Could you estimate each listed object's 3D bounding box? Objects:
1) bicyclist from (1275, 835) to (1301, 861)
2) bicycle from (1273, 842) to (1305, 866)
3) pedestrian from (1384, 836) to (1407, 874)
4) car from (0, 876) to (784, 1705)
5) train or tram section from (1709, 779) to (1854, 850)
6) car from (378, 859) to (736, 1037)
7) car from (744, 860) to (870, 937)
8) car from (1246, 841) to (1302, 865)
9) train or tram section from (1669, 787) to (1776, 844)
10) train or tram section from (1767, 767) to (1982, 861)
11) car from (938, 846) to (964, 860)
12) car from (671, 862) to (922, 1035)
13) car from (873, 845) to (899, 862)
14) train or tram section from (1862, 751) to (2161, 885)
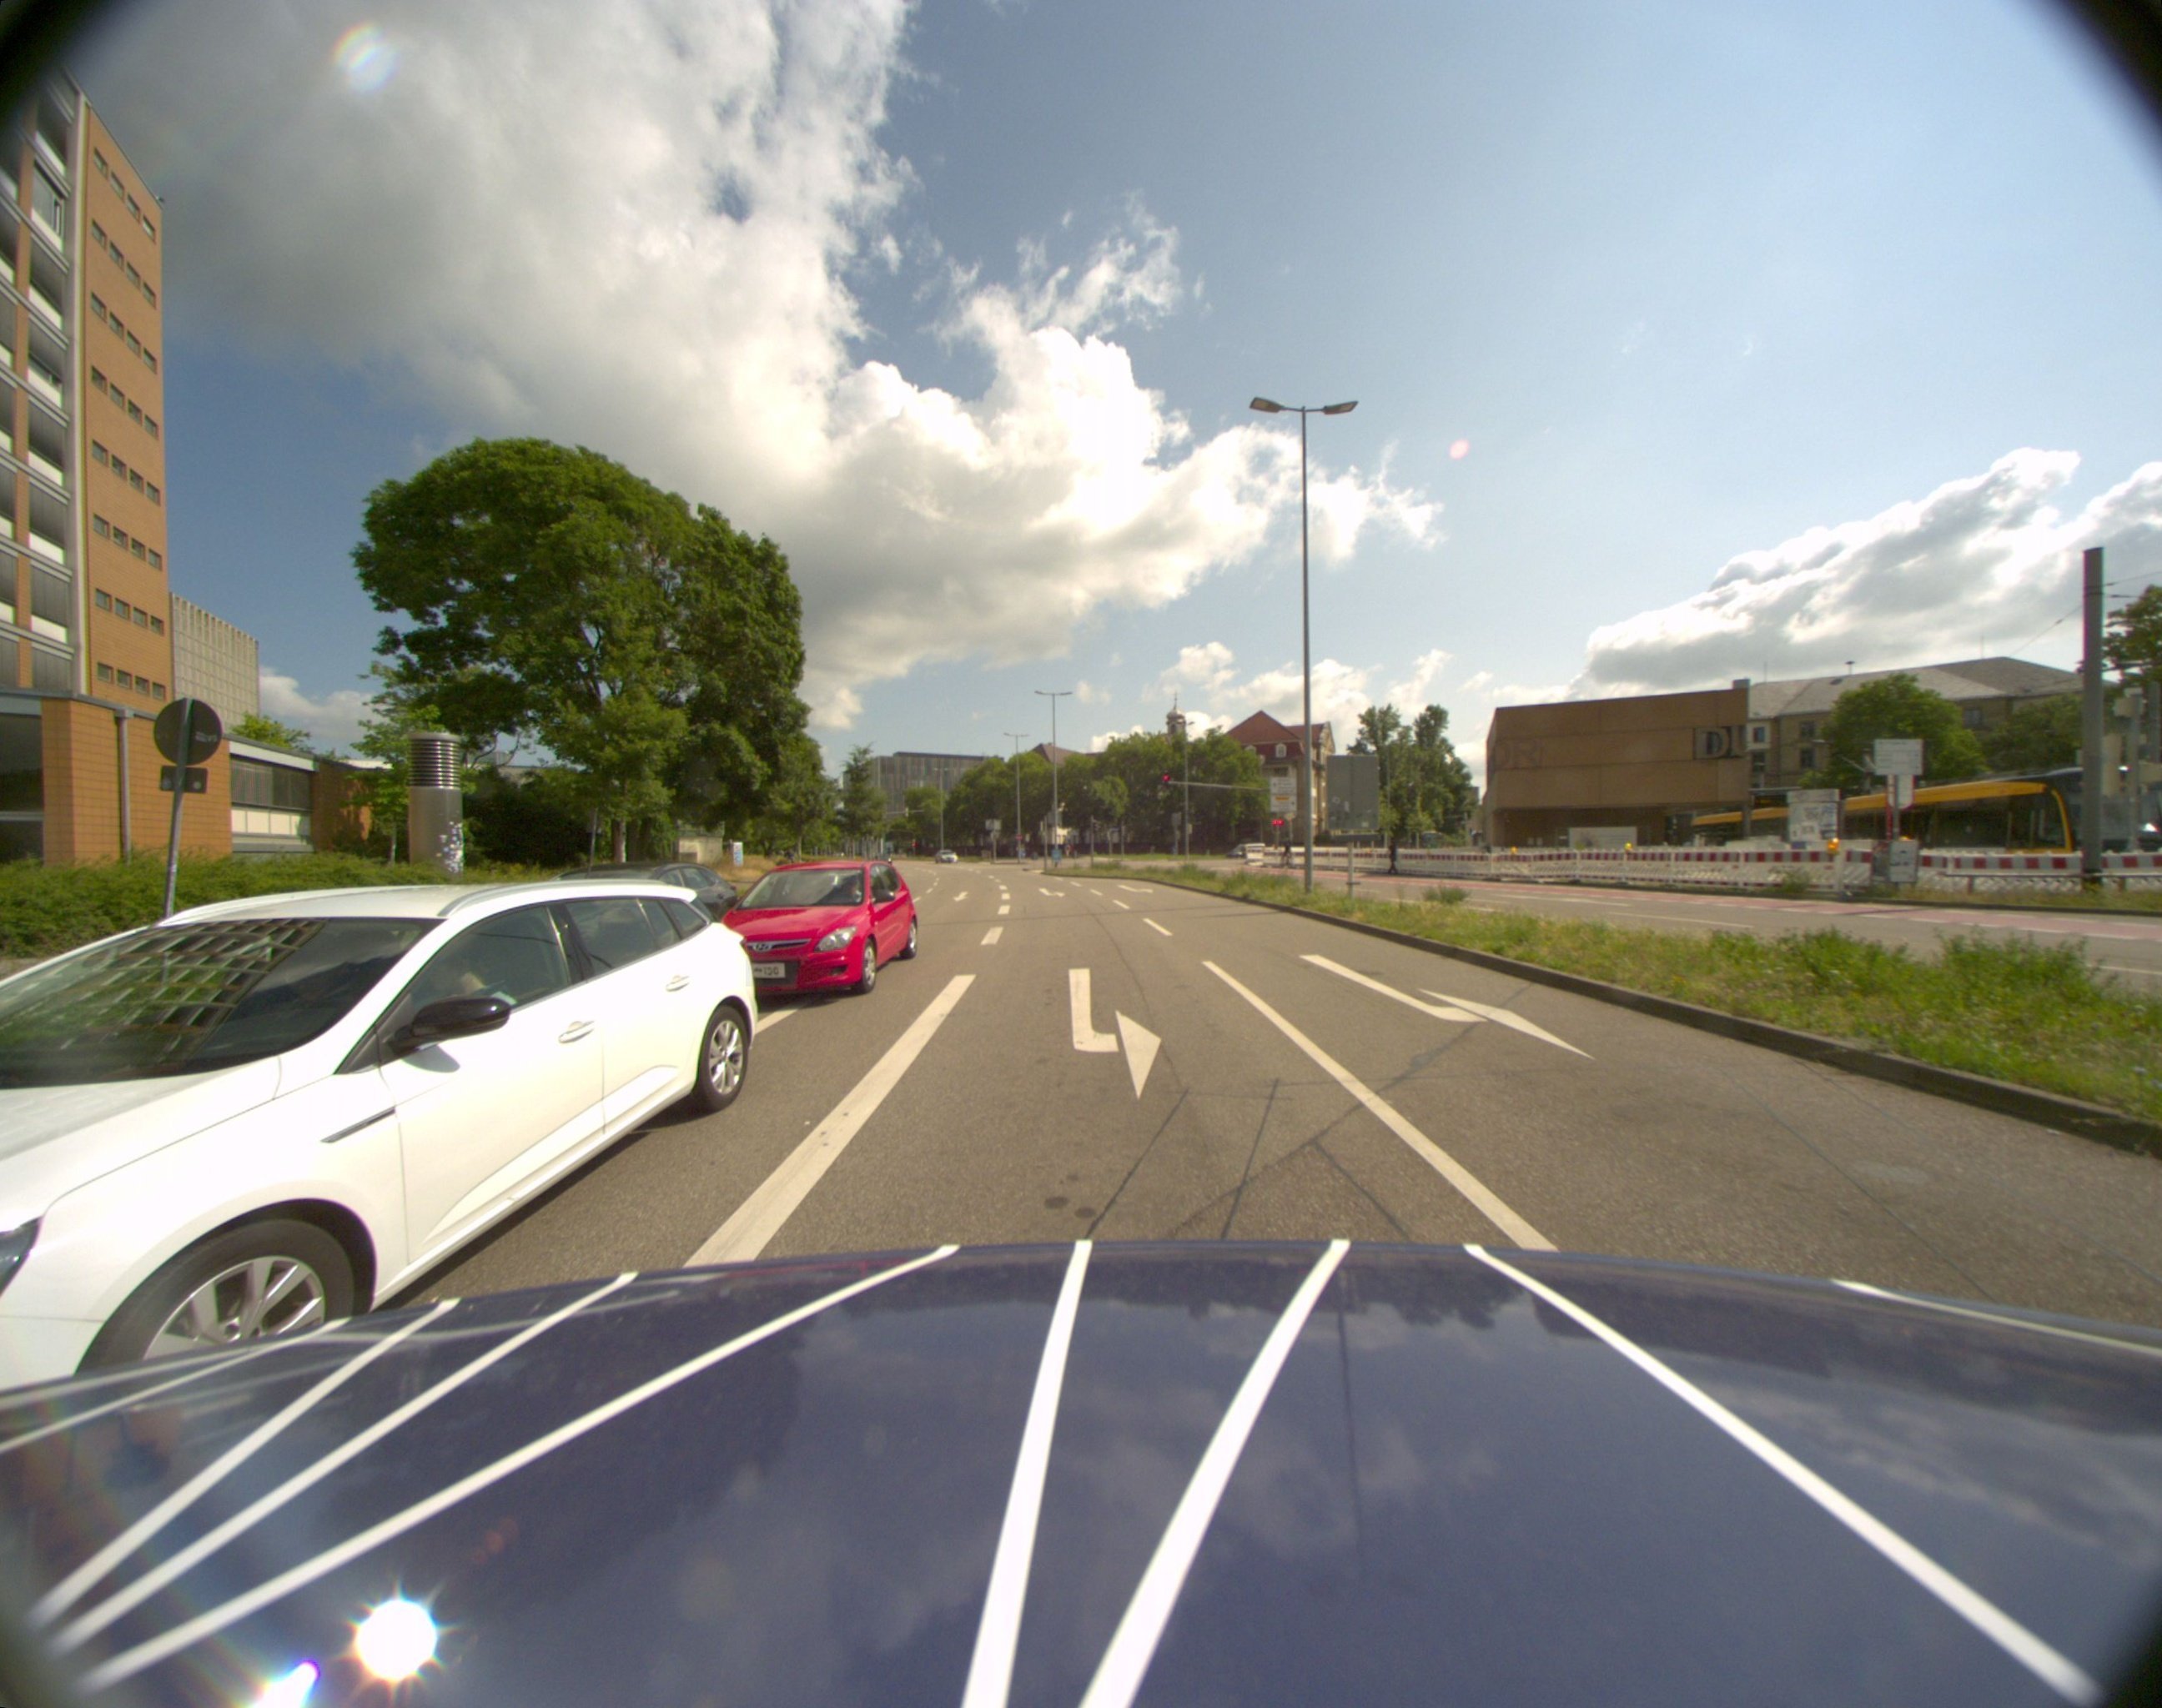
[{"bbox_3d":[12.668,-0.355,46.525,0.778,1.554,1.774,-1,1,-11],"label":"bicyclist"},{"bbox_3d":[12.723,-0.033,46.536,0.973,1.403,2.291,-1,1,-11],"label":"bicycle"},{"bbox_3d":[15.112,0.043,36.542,0.653,1.754,1.001,-1,1,-2],"label":"pedestrian"},{"bbox_3d":[-3.049,0.968,3.098,1.762,1.421,4.673,-3,2,0],"label":"car"},{"bbox_3d":[39.583,-2.194,43.517,3.316,3.461,10.623,-2,2,27],"label":"train or tram section"},{"bbox_3d":[-6.136,0.941,9.641,1.646,1.567,4.210,-3,2,-2],"label":"car"},{"bbox_3d":[-6.132,0.919,17.505,1.588,1.377,4.076,-3,2,-4],"label":"car"},{"bbox_3d":[14.804,-0.071,58.175,3.991,1.772,2.002,-1,1,19],"label":"car"},{"bbox_3d":[44.368,-2.654,52.978,3.316,3.461,10.623,-2,2,27],"label":"train or tram section"},{"bbox_3d":[34.815,-1.735,34.085,3.316,3.461,10.623,-2,2,27],"label":"train or tram section"},{"bbox_3d":[-14.953,-0.151,87.118,1.834,1.517,3.991,-1,1,-26],"label":"car"},{"bbox_3d":[-3.173,0.937,9.402,1.646,1.459,4.063,-3,2,-2],"label":"car"},{"bbox_3d":[-21.702,-0.044,84.377,2.002,1.745,3.991,-3,2,-25],"label":"car"},{"bbox_3d":[30.009,-1.153,24.596,3.316,3.461,10.623,-2,2,27],"label":"train or tram section"}]
